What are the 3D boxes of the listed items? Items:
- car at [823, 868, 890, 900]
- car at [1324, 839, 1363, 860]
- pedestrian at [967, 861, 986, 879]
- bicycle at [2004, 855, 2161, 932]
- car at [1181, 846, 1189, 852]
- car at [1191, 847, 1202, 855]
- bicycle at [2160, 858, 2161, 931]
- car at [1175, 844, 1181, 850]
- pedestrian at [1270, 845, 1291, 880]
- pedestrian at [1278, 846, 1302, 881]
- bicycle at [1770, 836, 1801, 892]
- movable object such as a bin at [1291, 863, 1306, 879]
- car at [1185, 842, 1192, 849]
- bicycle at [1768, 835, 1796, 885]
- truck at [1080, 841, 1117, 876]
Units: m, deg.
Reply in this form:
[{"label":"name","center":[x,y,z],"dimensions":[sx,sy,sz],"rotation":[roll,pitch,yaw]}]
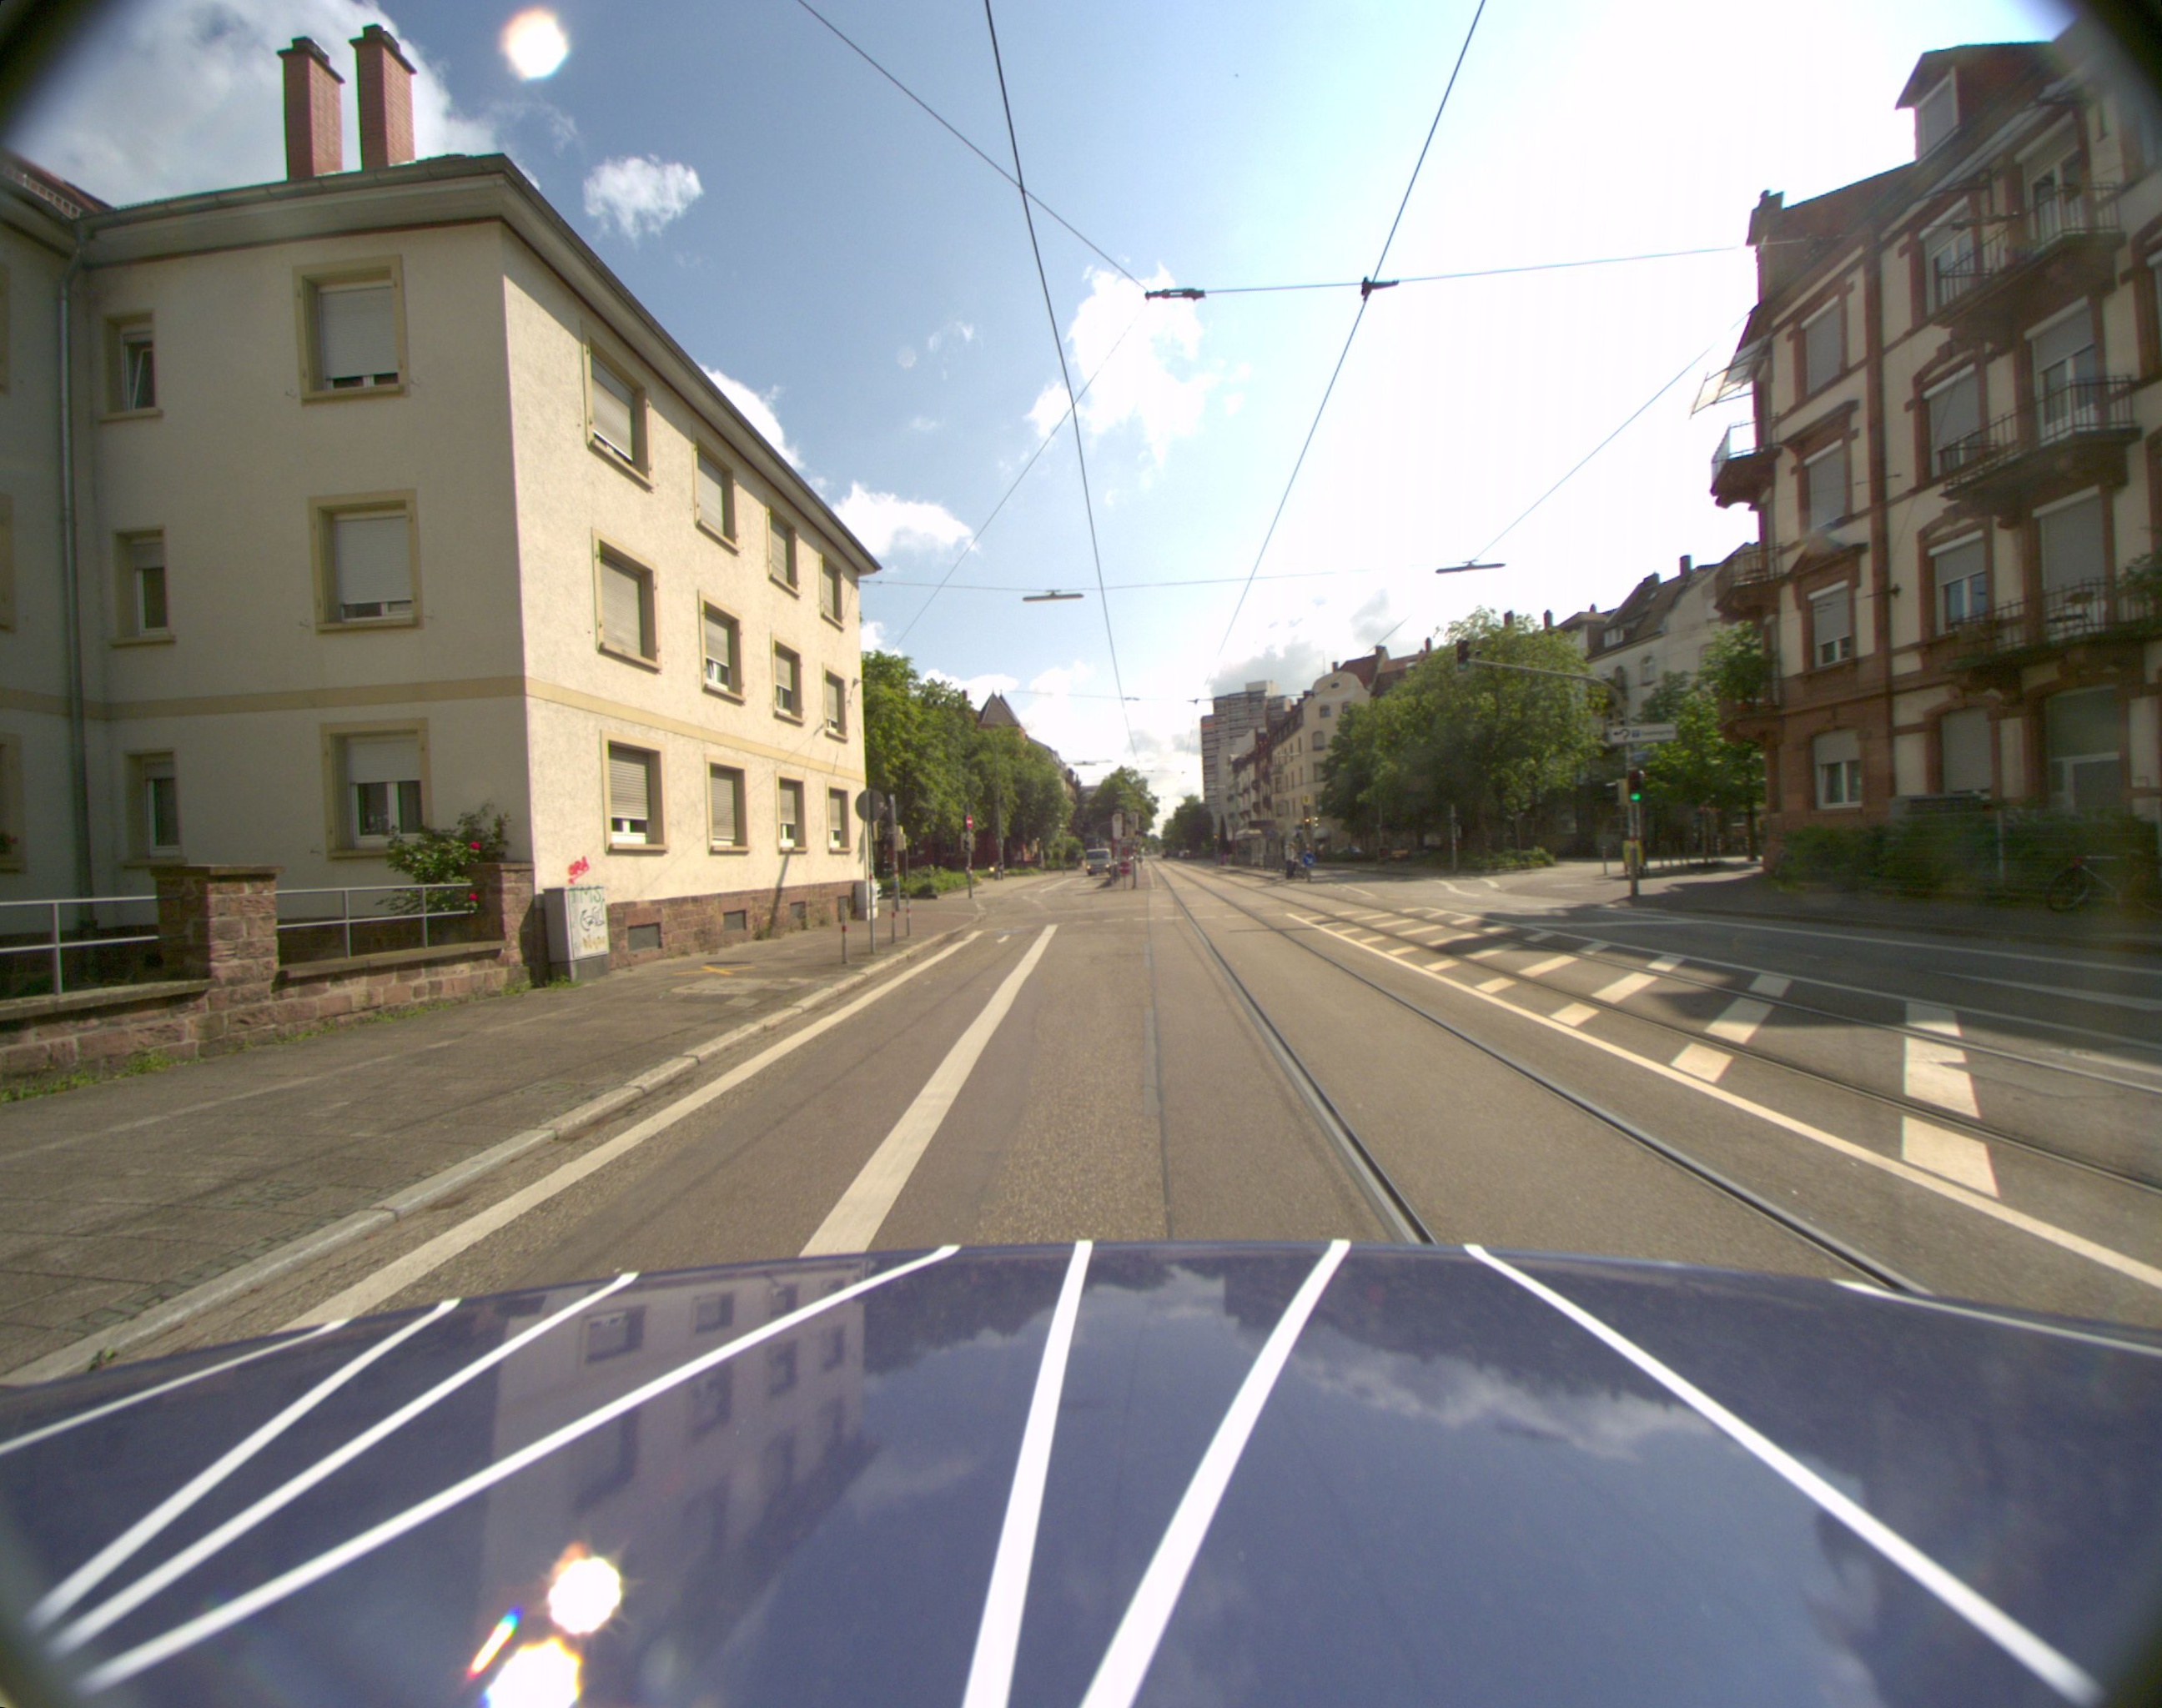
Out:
[{"label":"car","center":[-10.999,1.457,37.059],"dimensions":[1.633,1.482,3.721],"rotation":[-1,-1,-43]},{"label":"car","center":[25.749,-0.450,74.577],"dimensions":[3.420,1.841,1.615],"rotation":[-4,1,24]},{"label":"pedestrian","center":[-7.017,1.092,51.118],"dimensions":[1.160,1.195,0.906],"rotation":[1,0,-3]},{"label":"bicycle","center":[14.002,0.503,10.446],"dimensions":[0.560,0.927,1.826],"rotation":[-2,0,8]},{"label":"car","center":[28.443,-1.327,207.287],"dimensions":[1.840,1.482,3.893],"rotation":[-3,0,5]},{"label":"car","center":[23.082,-0.667,151.489],"dimensions":[1.840,1.482,3.893],"rotation":[-3,0,5]},{"label":"bicycle","center":[13.766,0.507,8.638],"dimensions":[0.560,0.927,1.826],"rotation":[-2,0,8]},{"label":"car","center":[31.758,-2.293,249.408],"dimensions":[1.840,1.799,3.893],"rotation":[-3,0,5]},{"label":"pedestrian","center":[9.207,0.407,35.084],"dimensions":[0.716,1.565,0.585],"rotation":[-2,0,-9]},{"label":"pedestrian","center":[9.459,0.434,34.384],"dimensions":[0.782,1.565,0.693],"rotation":[-2,0,-9]},{"label":"bicycle","center":[16.785,0.219,18.089],"dimensions":[0.481,1.217,1.958],"rotation":[-2,1,44]},{"label":"movable object such as a bin","center":[10.048,0.788,35.075],"dimensions":[0.512,0.713,0.457],"rotation":[-2,0,-9]},{"label":"car","center":[33.466,-2.719,235.592],"dimensions":[1.840,2.179,3.893],"rotation":[-3,0,5]},{"label":"bicycle","center":[18.232,0.138,19.751],"dimensions":[0.481,1.217,1.958],"rotation":[-2,1,44]},{"label":"truck","center":[1.568,0.339,64.718],"dimensions":[2.530,2.722,6.517],"rotation":[-2,0,6]}]
